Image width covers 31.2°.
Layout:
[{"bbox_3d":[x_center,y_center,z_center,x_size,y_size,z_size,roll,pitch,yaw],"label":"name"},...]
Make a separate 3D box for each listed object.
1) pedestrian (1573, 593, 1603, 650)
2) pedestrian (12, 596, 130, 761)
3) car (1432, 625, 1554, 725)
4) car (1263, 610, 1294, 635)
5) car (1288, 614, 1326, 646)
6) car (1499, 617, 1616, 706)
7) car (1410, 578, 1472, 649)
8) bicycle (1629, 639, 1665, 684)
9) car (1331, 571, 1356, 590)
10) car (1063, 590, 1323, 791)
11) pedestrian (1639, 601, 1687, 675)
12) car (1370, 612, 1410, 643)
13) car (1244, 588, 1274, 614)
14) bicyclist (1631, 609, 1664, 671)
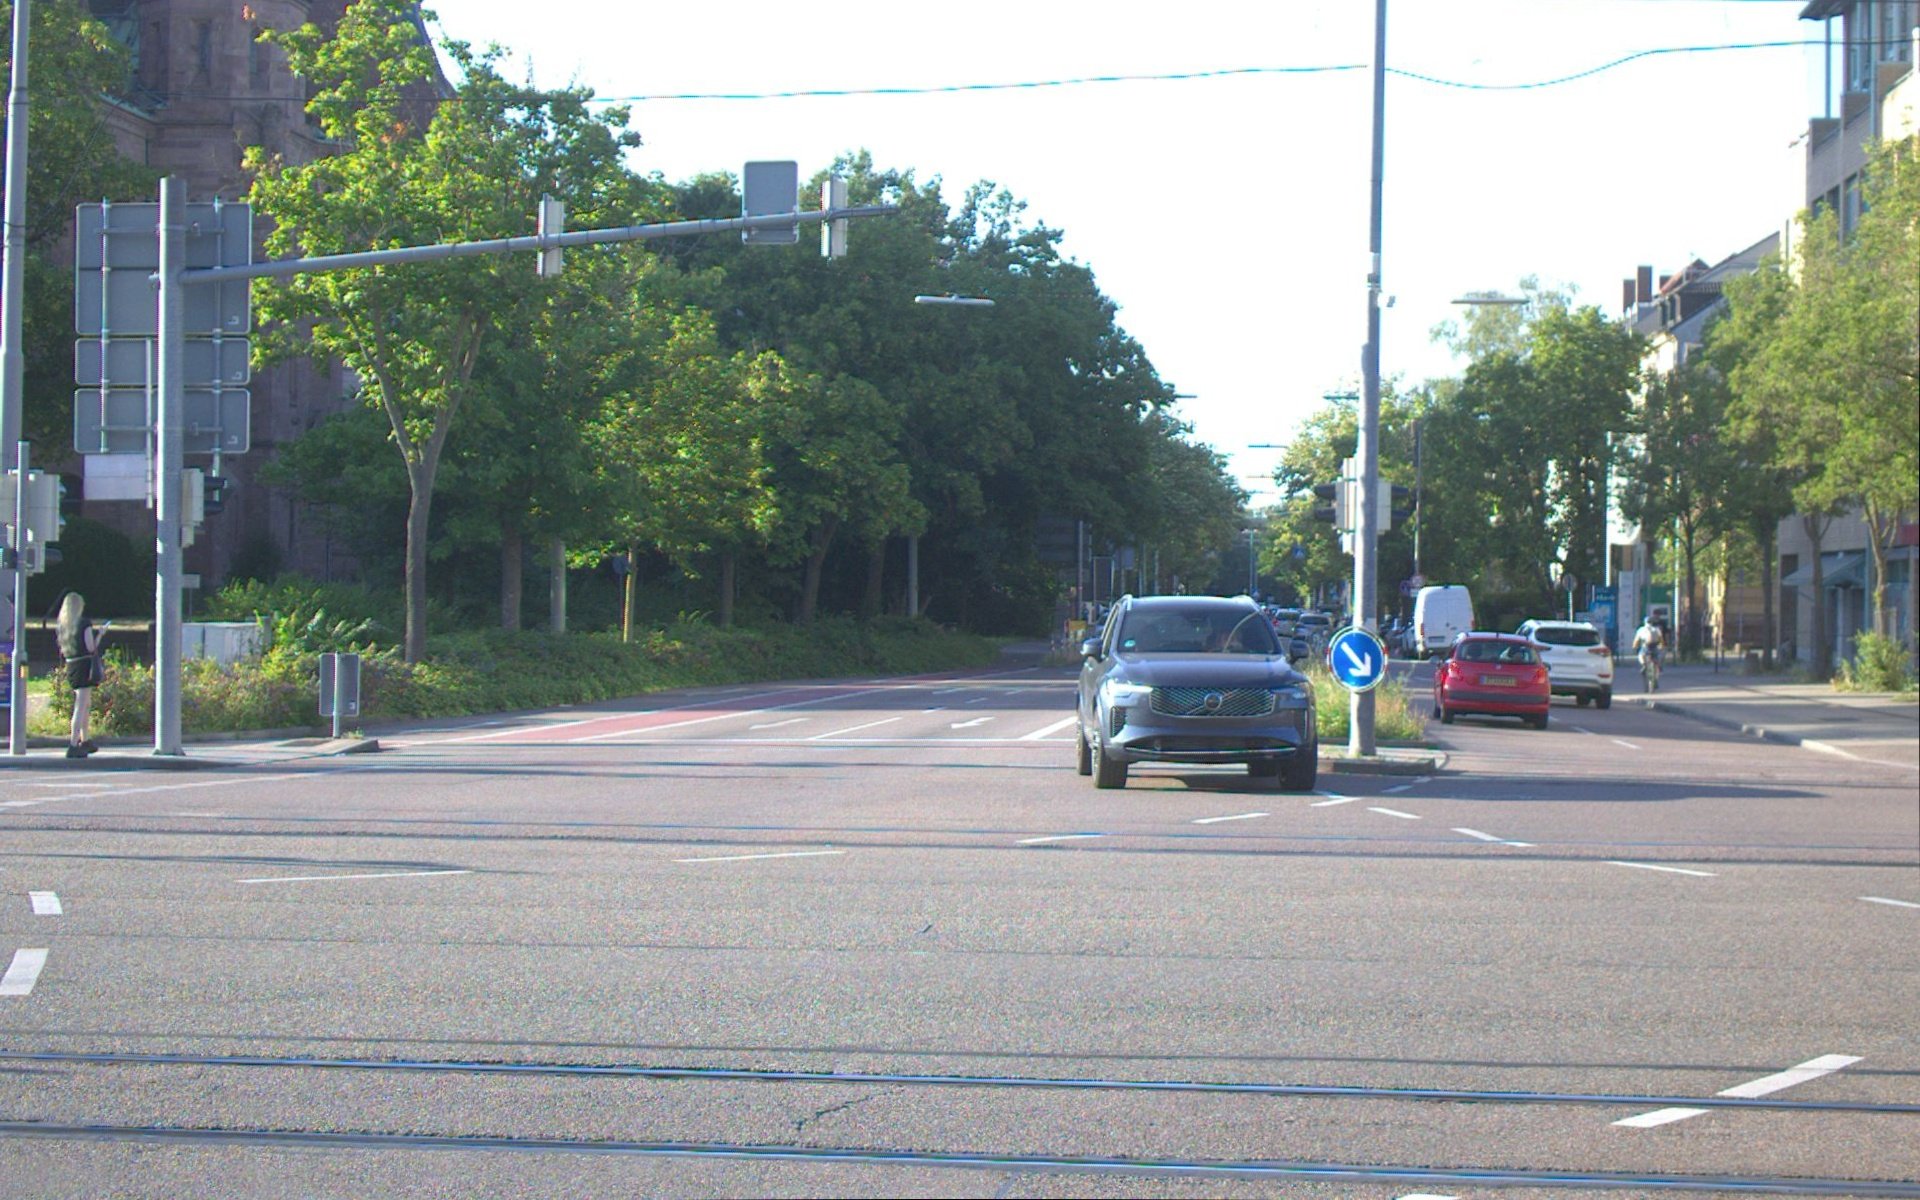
[{"bbox_3d":[20.088,0.680,109.955,0.848,1.797,0.775,1,0,6],"label":"pedestrian"},{"bbox_3d":[-9.569,0.837,37.030,0.965,1.733,0.812,1,0,7],"label":"pedestrian"},{"bbox_3d":[8.545,1.183,55.375,1.670,1.457,3.999,2,0,6],"label":"car"},{"bbox_3d":[16.723,1.170,180.465,1.595,1.263,3.266,1,1,6],"label":"car"},{"bbox_3d":[14.855,1.271,147.257,1.595,1.263,3.266,1,1,6],"label":"car"},{"bbox_3d":[11.769,1.192,67.896,1.917,1.602,4.268,2,0,6],"label":"car"},{"bbox_3d":[17.354,0.472,124.242,1.994,2.432,3.999,2,0,6],"label":"car"},{"bbox_3d":[15.621,1.385,78.184,0.592,0.940,1.978,2,1,6],"label":"bicycle"},{"bbox_3d":[26.165,-1.364,234.581,1.595,1.263,3.266,1,1,6],"label":"car"},{"bbox_3d":[2.089,0.812,32.166,1.993,1.718,5.031,1,-1,-1],"label":"car"},{"bbox_3d":[18.822,1.015,92.100,1.108,1.969,1.161,1,0,6],"label":"pedestrian"},{"bbox_3d":[18.433,1.173,147.371,1.595,1.263,3.266,1,1,6],"label":"car"},{"bbox_3d":[20.097,0.095,231.068,1.887,1.665,3.999,2,0,6],"label":"car"},{"bbox_3d":[15.638,0.914,78.161,0.592,1.364,0.929,2,1,6],"label":"bicyclist"}]
